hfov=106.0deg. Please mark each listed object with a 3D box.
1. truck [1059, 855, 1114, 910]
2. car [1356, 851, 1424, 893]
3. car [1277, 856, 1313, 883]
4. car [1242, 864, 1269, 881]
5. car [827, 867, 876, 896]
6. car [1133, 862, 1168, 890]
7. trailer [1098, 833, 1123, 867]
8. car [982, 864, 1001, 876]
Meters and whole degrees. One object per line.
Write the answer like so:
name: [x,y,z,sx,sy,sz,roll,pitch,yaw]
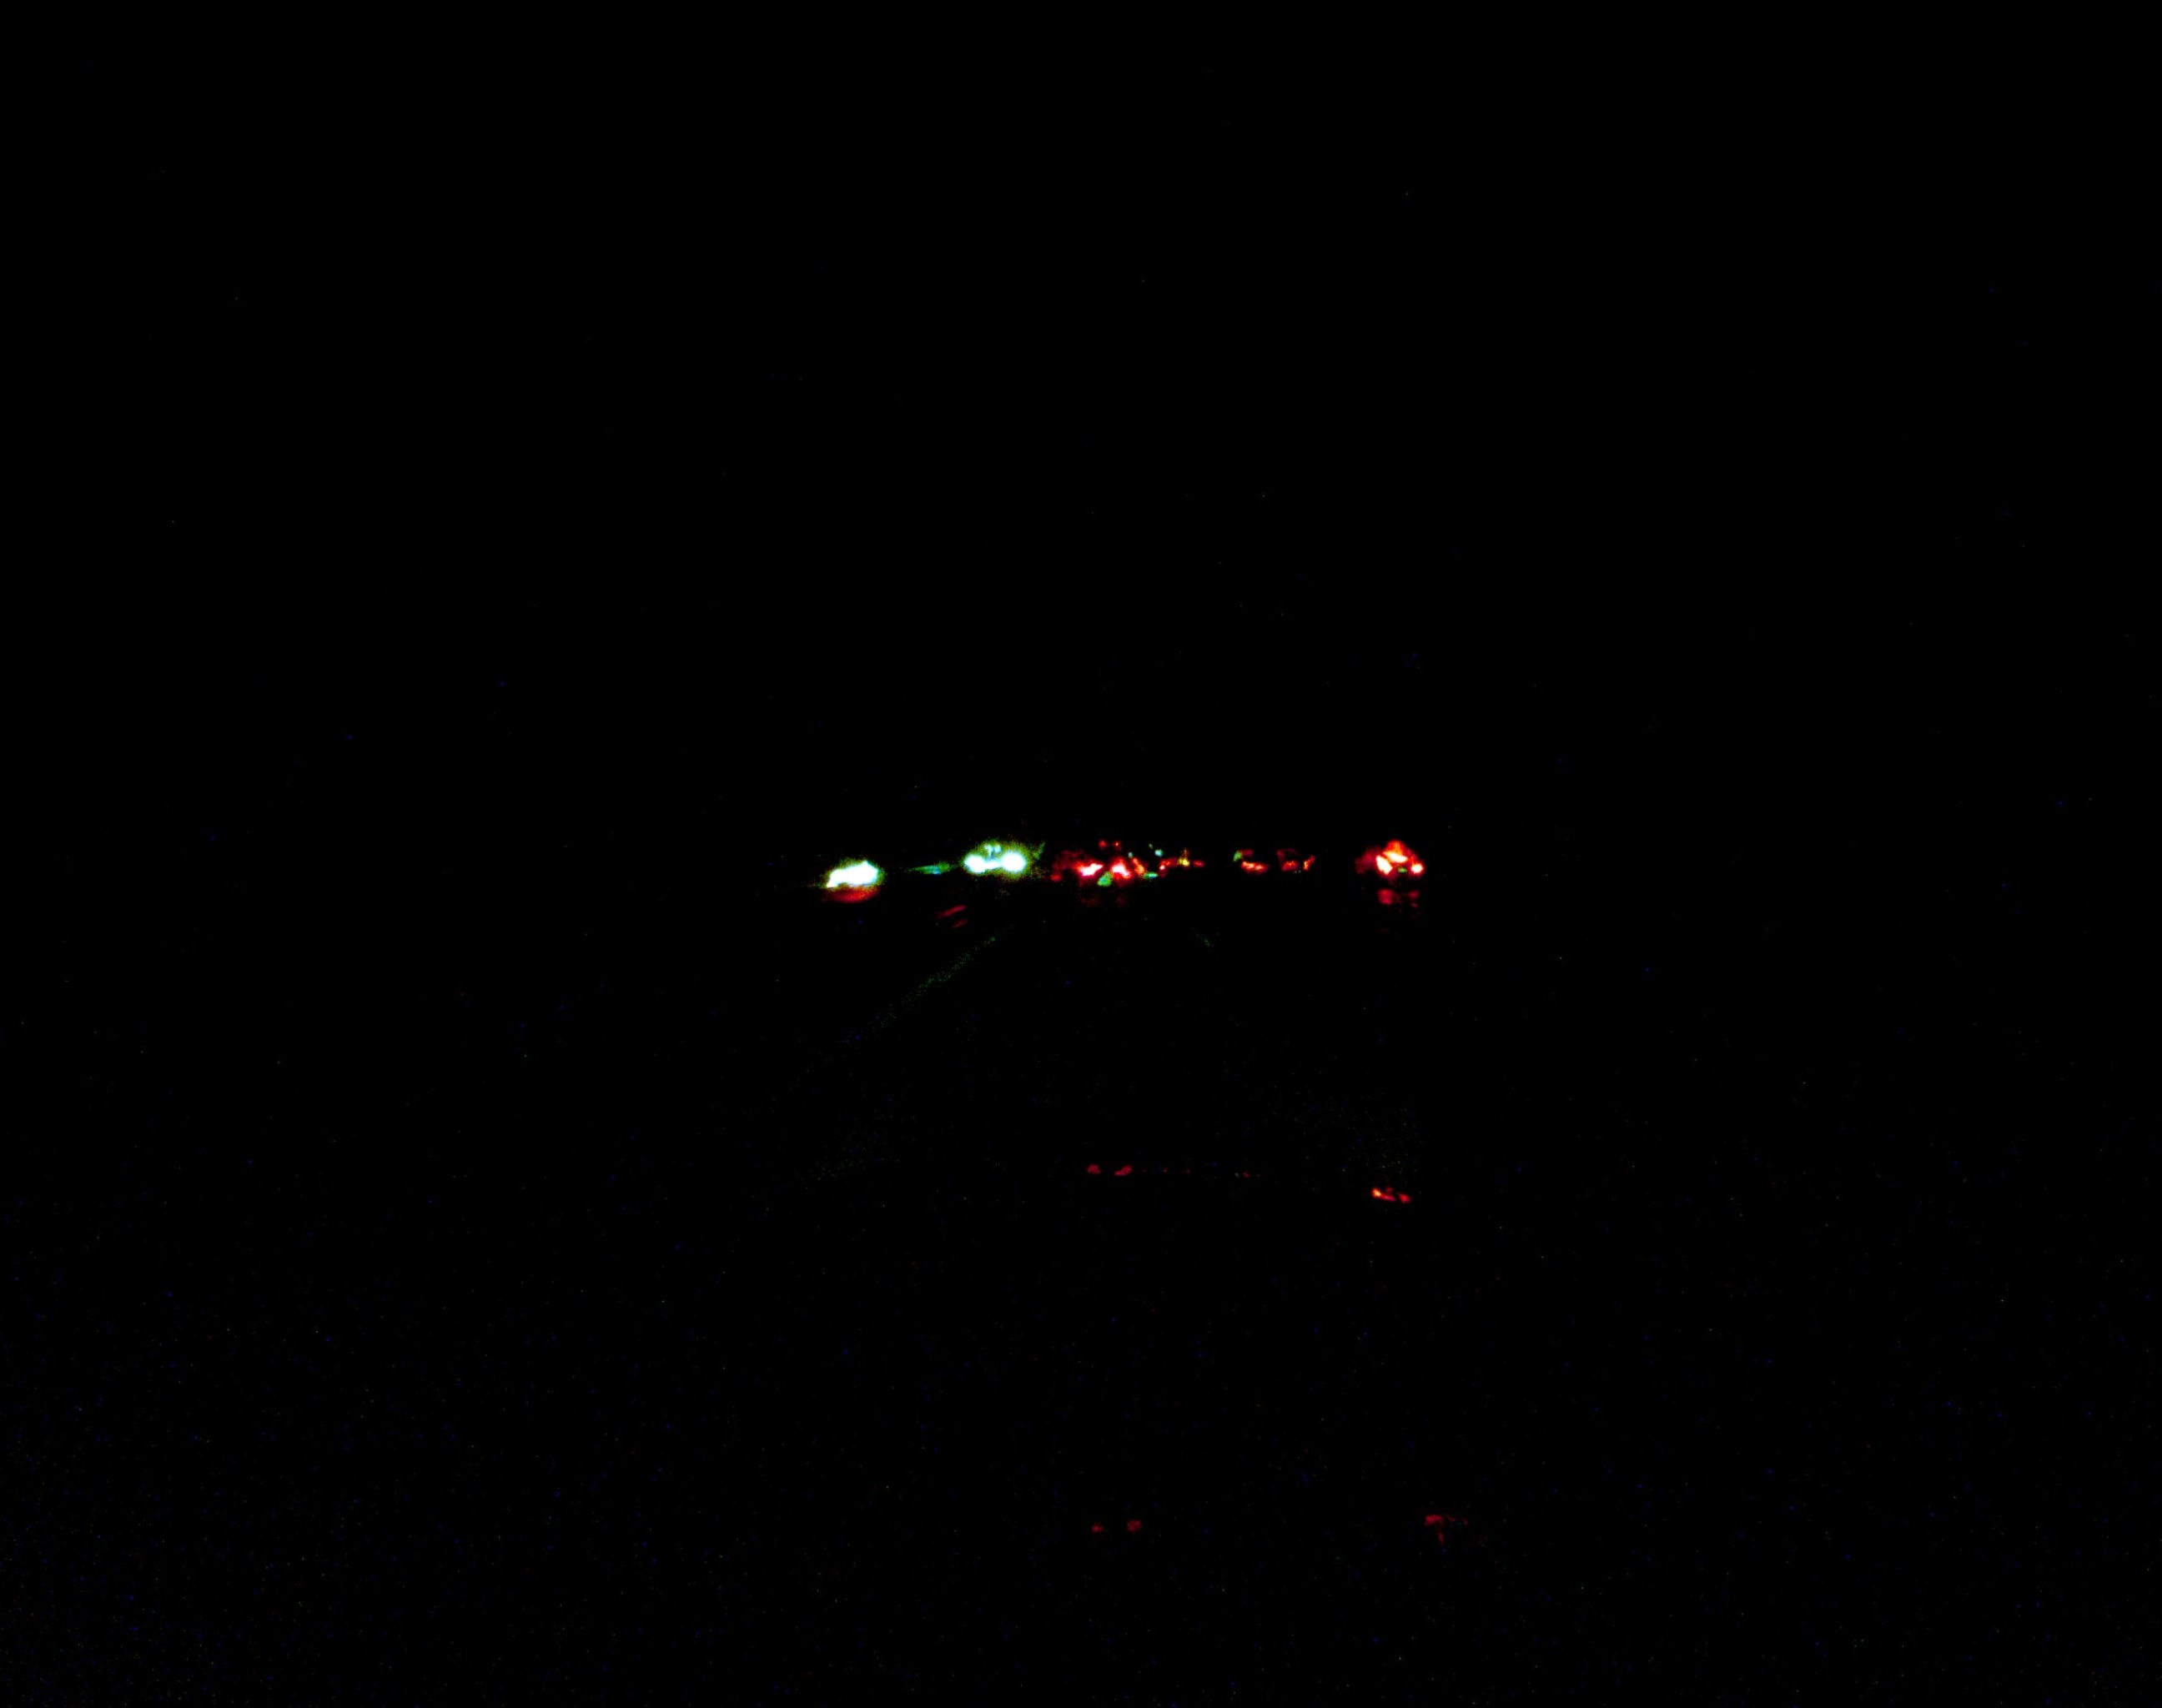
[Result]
truck: [0.327,1.156,35.760,2.137,2.077,6.606,2,0,2]
car: [16.054,0.878,42.617,2.052,2.013,5.459,1,0,6]
car: [17.044,1.209,65.058,2.221,2.013,4.007,1,0,6]
car: [18.748,1.975,87.565,1.987,1.600,4.000,2,0,1]
car: [-15.529,1.828,55.316,1.986,1.720,4.289,2,0,1]
car: [4.327,1.352,51.215,1.794,1.617,4.256,-2,0,0]
trailer: [4.543,-0.797,129.910,2.733,4.245,13.365,2,5,-3]
car: [-11.283,2.043,103.186,1.797,1.406,4.289,2,0,1]
